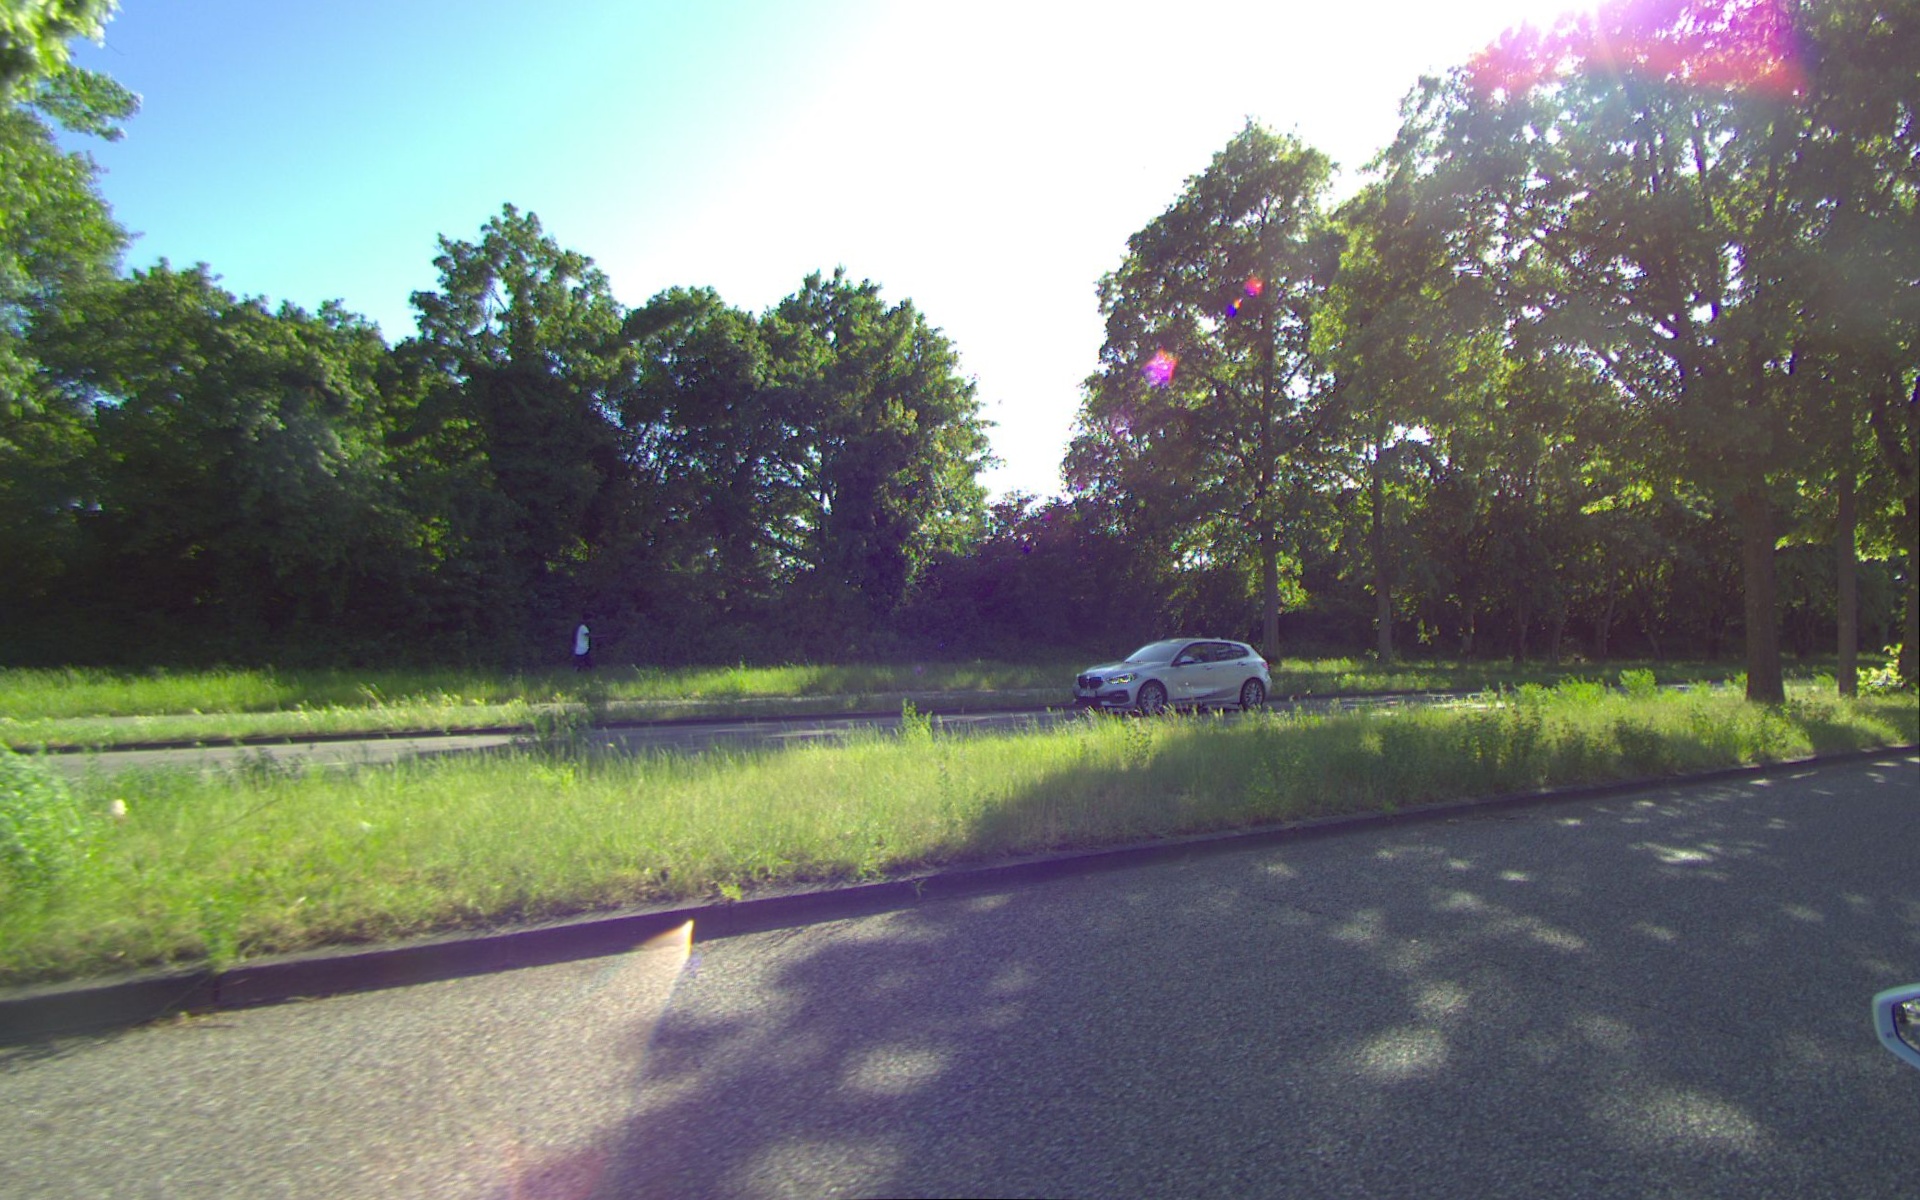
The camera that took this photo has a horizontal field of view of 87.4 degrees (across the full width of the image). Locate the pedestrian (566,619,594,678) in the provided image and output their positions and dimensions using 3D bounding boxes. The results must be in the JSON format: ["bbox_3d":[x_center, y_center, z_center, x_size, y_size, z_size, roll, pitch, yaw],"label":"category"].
[{"bbox_3d":[-9.718,1.227,25.698,0.589,1.479,0.542,1,-2,-30],"label":"pedestrian"}]

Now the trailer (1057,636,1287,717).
[{"bbox_3d":[4.243,1.465,19.940,4.443,1.443,1.733,1,-4,-30],"label":"trailer"}]

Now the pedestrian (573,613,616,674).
[{"bbox_3d":[-9.104,1.073,24.999,0.906,1.479,0.542,1,-2,-30],"label":"pedestrian"}]
